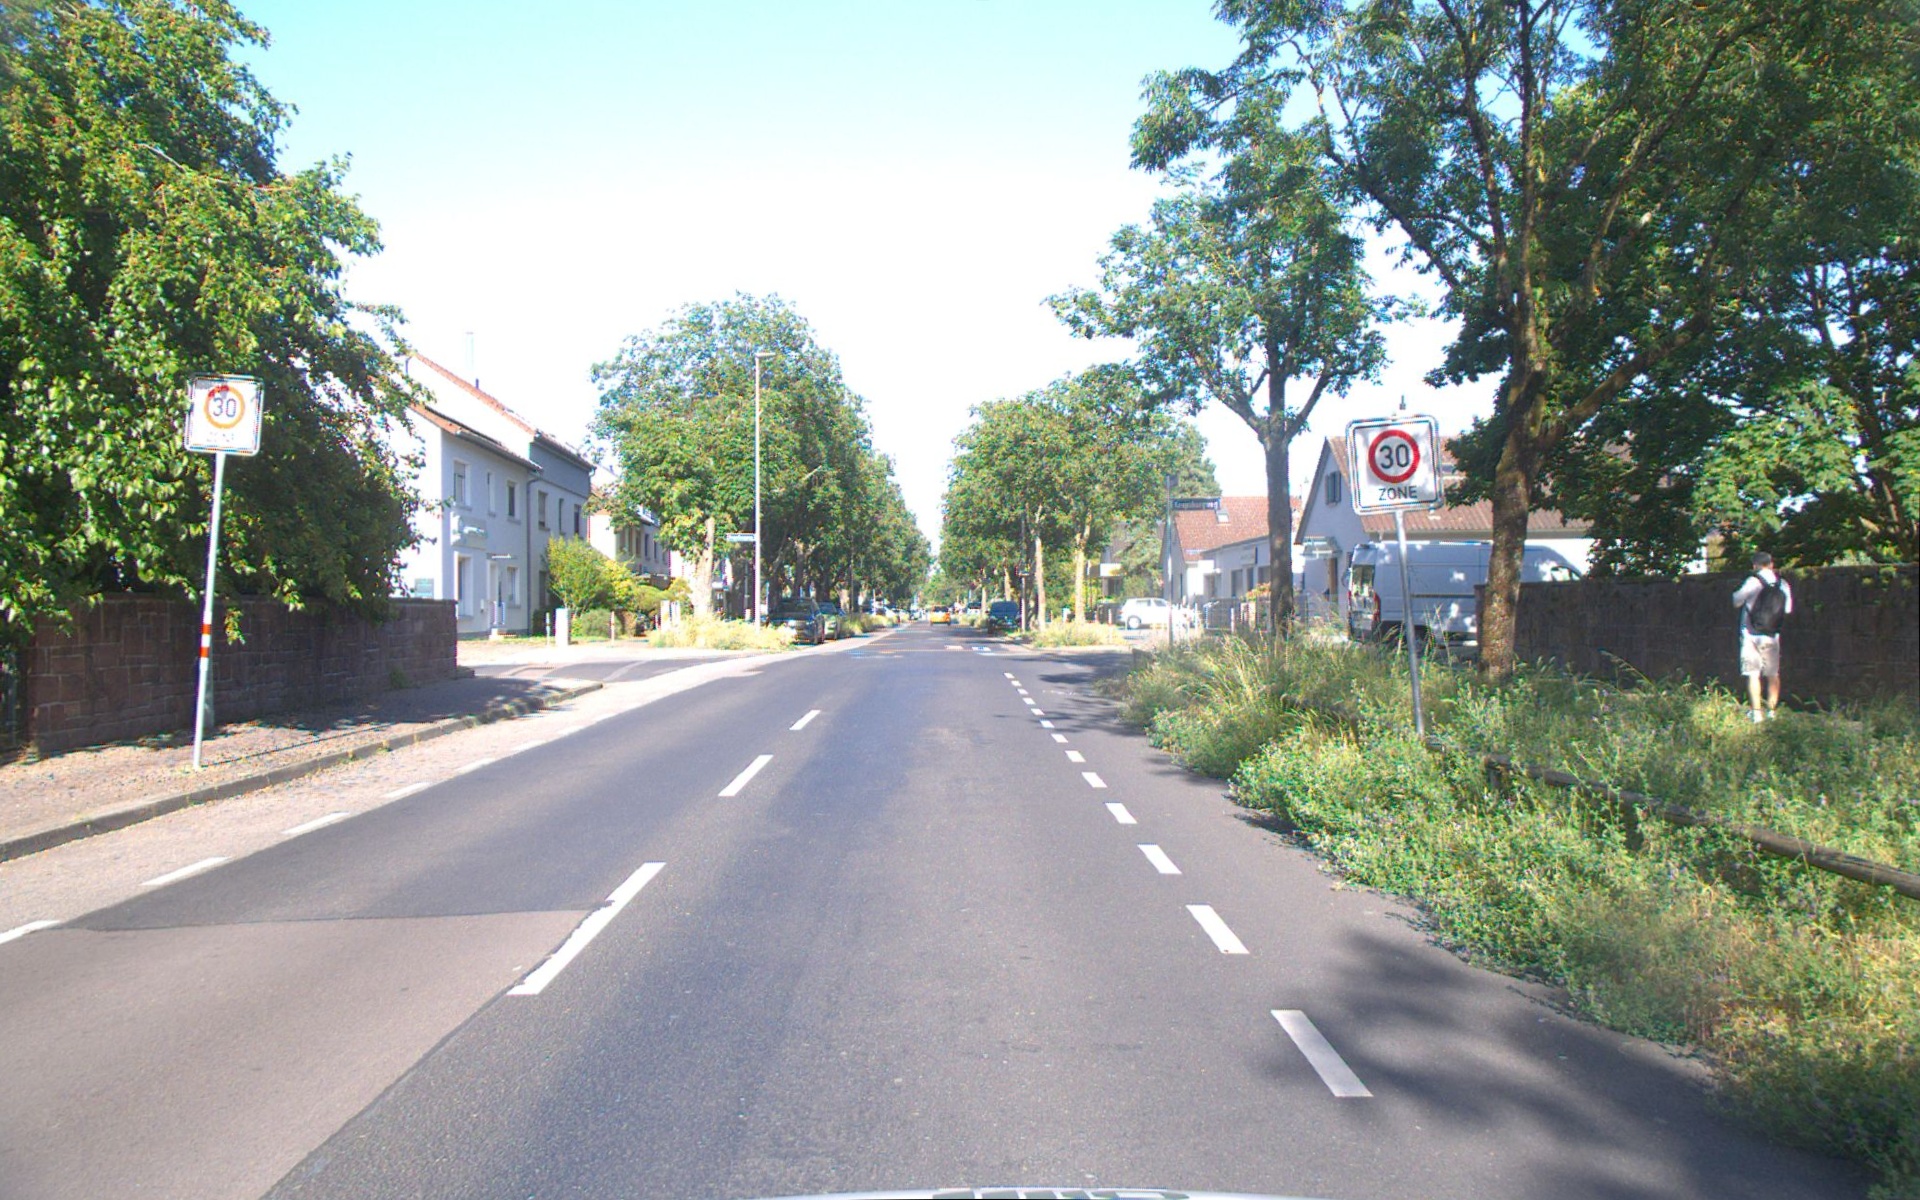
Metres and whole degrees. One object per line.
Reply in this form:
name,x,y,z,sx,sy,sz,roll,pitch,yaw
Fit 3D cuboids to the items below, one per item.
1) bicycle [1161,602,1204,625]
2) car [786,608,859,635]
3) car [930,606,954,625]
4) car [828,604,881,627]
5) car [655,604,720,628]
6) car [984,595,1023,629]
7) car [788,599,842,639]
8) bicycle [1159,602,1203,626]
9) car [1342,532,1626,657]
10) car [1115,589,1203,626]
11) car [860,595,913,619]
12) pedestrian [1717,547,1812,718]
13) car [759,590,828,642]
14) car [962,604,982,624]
bicycle,10.344,0.632,77.037,1.885,1.016,0.576,-2,1,-3
car,-8.600,1.328,103.689,4.462,1.537,1.841,1,1,-1
car,-1.532,1.315,137.214,1.850,1.505,3.886,2,-1,-2
car,-9.025,1.324,141.158,4.458,1.796,1.998,1,1,-6
car,-19.790,1.157,120.158,4.465,1.646,1.998,1,1,-5
car,2.250,0.652,87.253,1.815,1.654,4.468,-2,-1,-1
car,-6.213,0.855,71.234,1.899,1.637,4.383,1,-1,0
bicycle,10.152,0.662,76.040,1.919,1.016,0.576,-2,1,-3
car,11.426,-0.137,36.322,5.483,2.583,2.264,-1,0,-3
car,9.486,0.348,79.164,3.907,1.514,1.901,-2,1,-2
car,-7.525,0.707,169.265,5.388,2.287,2.516,1,1,-3
pedestrian,8.428,0.330,17.342,0.624,1.735,0.612,-3,1,-2
car,-5.941,0.608,59.513,1.913,1.757,4.874,1,-1,0
car,1.145,1.362,160.337,1.864,1.805,4.300,1,-1,0
